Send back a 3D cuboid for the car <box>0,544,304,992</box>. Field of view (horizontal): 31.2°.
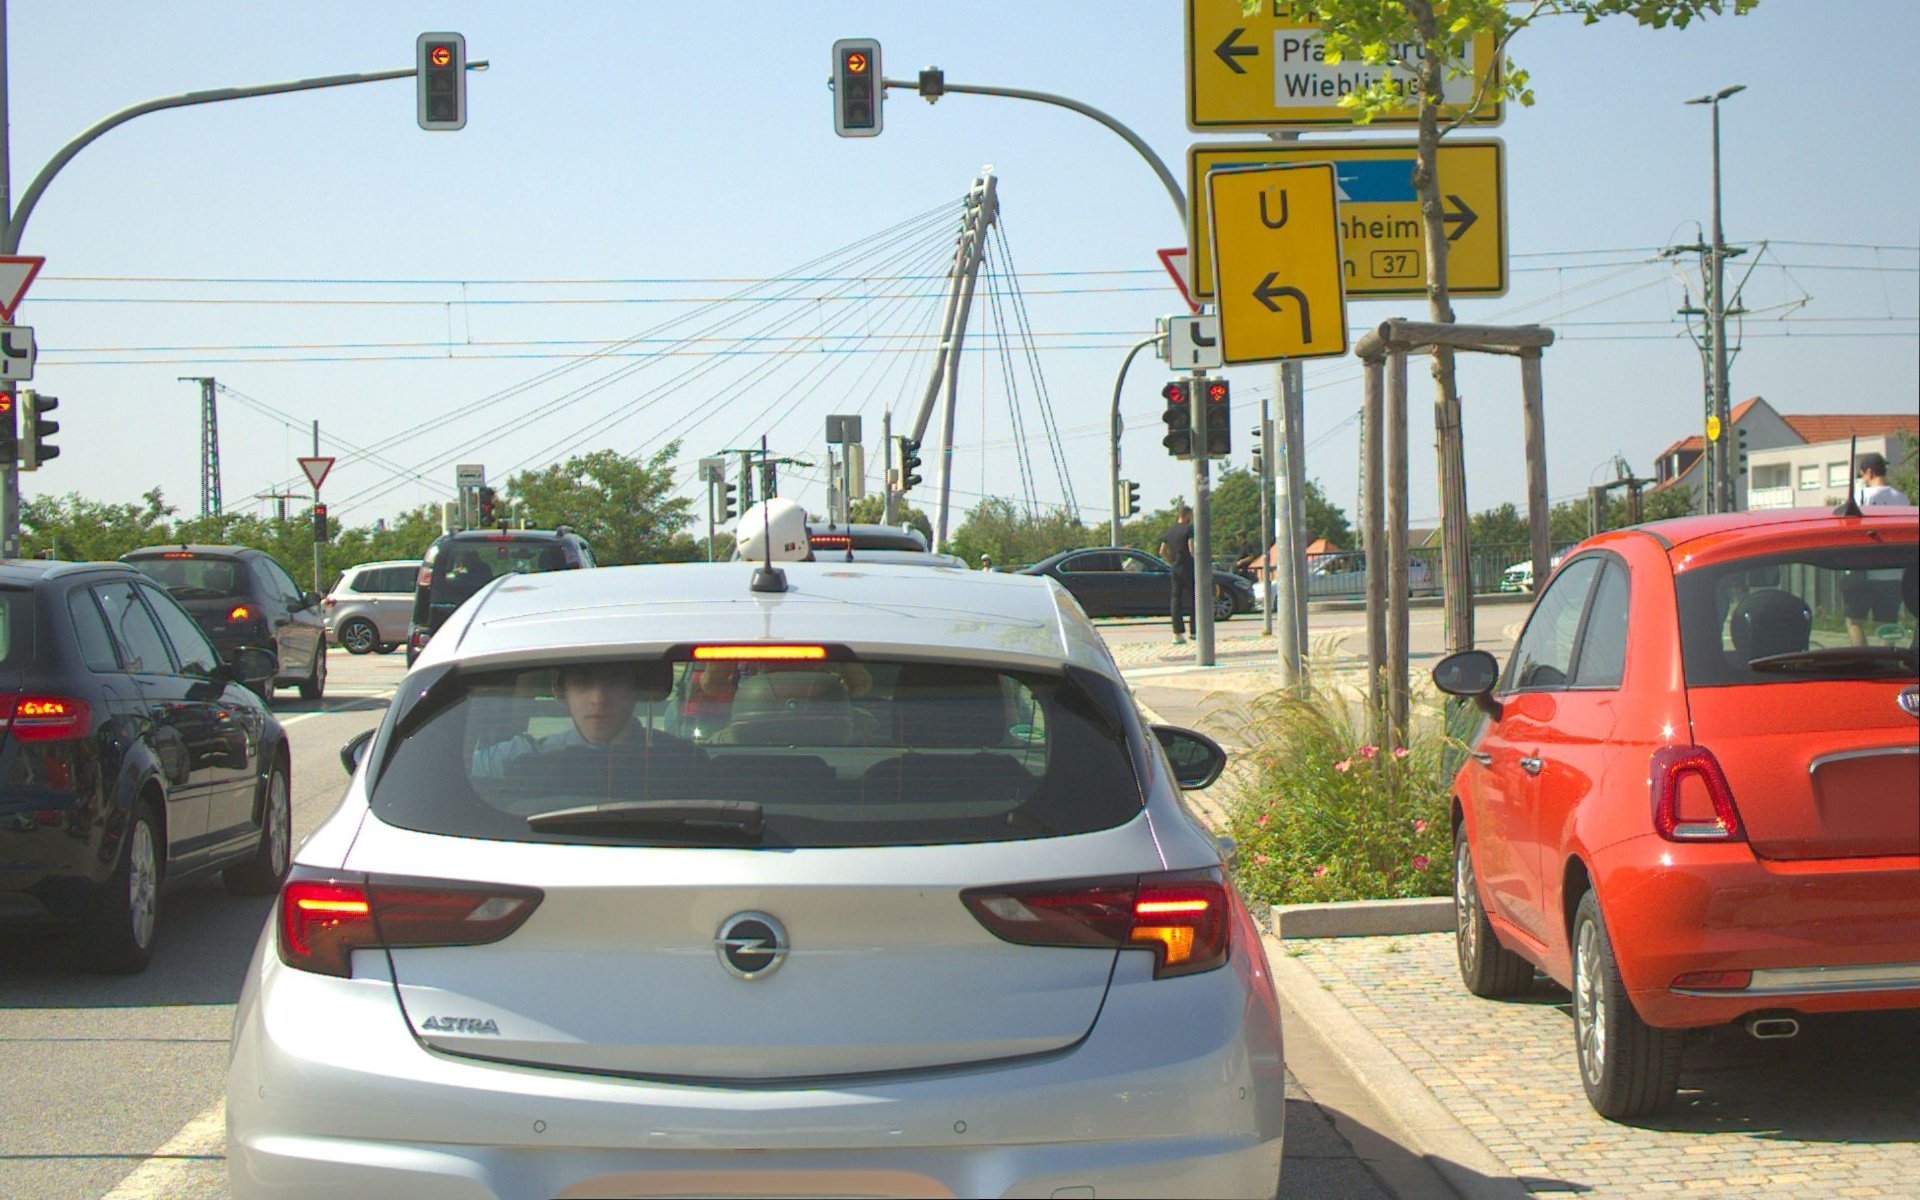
[{"bbox_3d":[-3.679,0.512,12.825,1.705,1.407,4.000,1,0,0],"label":"car"}]

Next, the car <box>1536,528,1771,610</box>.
[{"bbox_3d":[12.445,-0.549,61.785,3.774,1.385,1.666,1,0,-10],"label":"car"}]

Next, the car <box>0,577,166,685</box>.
[{"bbox_3d":[-17.389,0.565,65.399,3.990,2.007,1.998,0,0,18],"label":"car"}]

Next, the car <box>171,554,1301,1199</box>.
[{"bbox_3d":[-0.381,0.666,7.296,1.690,1.514,4.271,0,1,-1],"label":"car"}]

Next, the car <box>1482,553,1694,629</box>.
[{"bbox_3d":[14.121,-0.205,77.378,4.244,1.668,2.001,0,0,-18],"label":"car"}]

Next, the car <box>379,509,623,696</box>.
[{"bbox_3d":[-4.155,0.020,31.668,1.803,1.616,3.917,0,0,-1],"label":"car"}]

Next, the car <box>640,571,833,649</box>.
[{"bbox_3d":[-4.936,0.210,76.232,4.195,1.639,1.833,1,0,-3],"label":"car"}]

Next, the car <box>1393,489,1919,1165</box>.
[{"bbox_3d":[2.381,0.474,10.052,1.669,1.534,3.917,-2,2,0],"label":"car"}]

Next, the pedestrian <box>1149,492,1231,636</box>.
[{"bbox_3d":[3.005,-0.466,44.864,0.753,1.857,0.741,1,0,39],"label":"pedestrian"}]

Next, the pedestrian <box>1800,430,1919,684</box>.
[{"bbox_3d":[6.695,-0.309,25.320,0.758,1.823,0.885,1,0,-1],"label":"pedestrian"}]

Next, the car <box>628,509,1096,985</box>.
[{"bbox_3d":[-0.392,0.524,14.173,1.634,1.668,3.745,1,0,-1],"label":"car"}]

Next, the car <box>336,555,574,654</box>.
[{"bbox_3d":[-8.692,0.074,59.431,3.815,1.623,1.857,1,0,0],"label":"car"}]

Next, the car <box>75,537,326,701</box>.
[{"bbox_3d":[-6.777,0.161,30.953,1.587,1.390,3.340,0,0,-1],"label":"car"}]

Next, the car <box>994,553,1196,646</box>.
[{"bbox_3d":[2.463,-0.008,63.212,3.506,1.635,1.800,1,0,-4],"label":"car"}]
